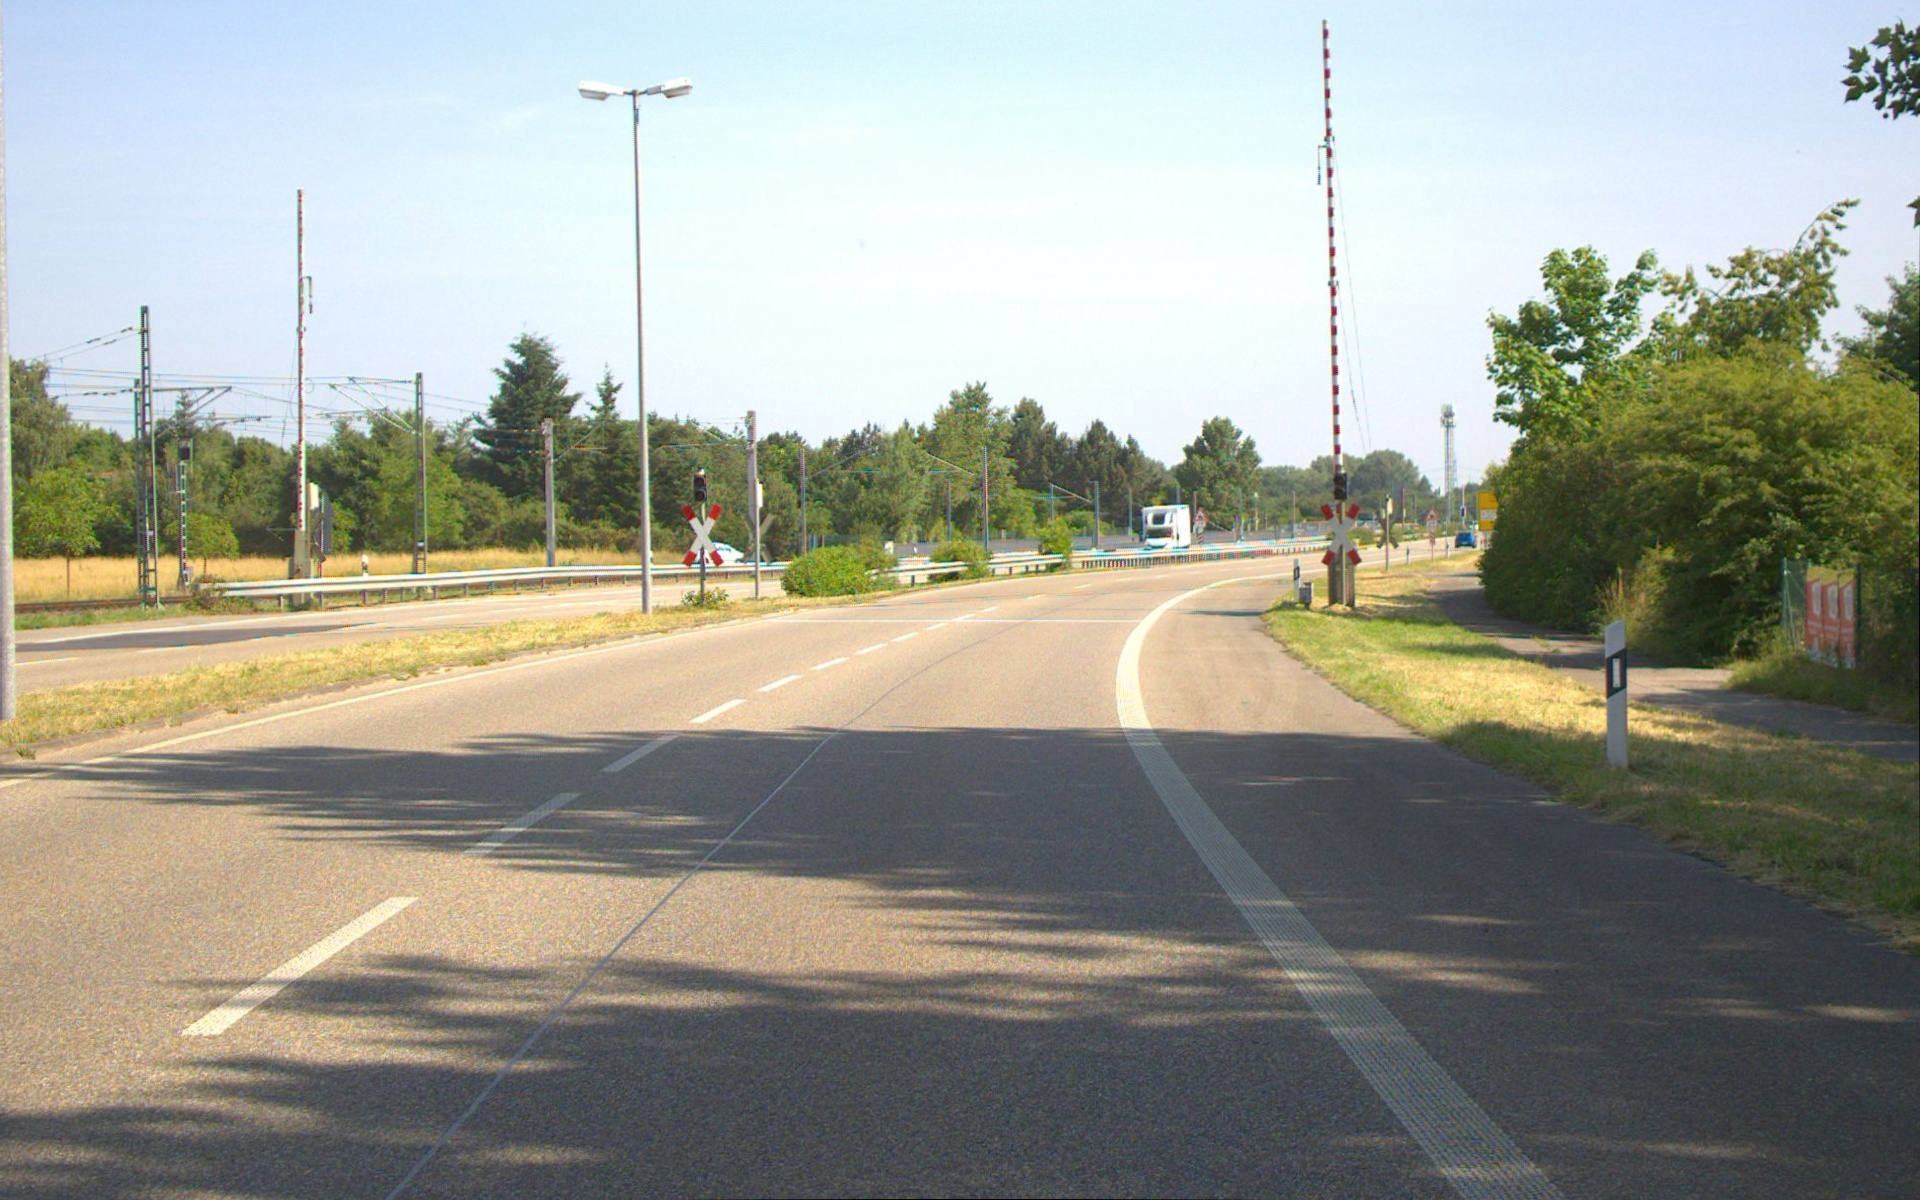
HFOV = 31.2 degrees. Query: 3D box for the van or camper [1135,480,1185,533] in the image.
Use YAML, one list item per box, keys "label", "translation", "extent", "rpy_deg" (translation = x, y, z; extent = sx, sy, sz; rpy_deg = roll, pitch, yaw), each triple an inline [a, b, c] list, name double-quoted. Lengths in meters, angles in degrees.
- label: "van or camper"
  translation: [14.103, -6.590, 242.927]
  extent: [2.876, 3.668, 8.645]
  rpy_deg: [-1, 1, -1]
